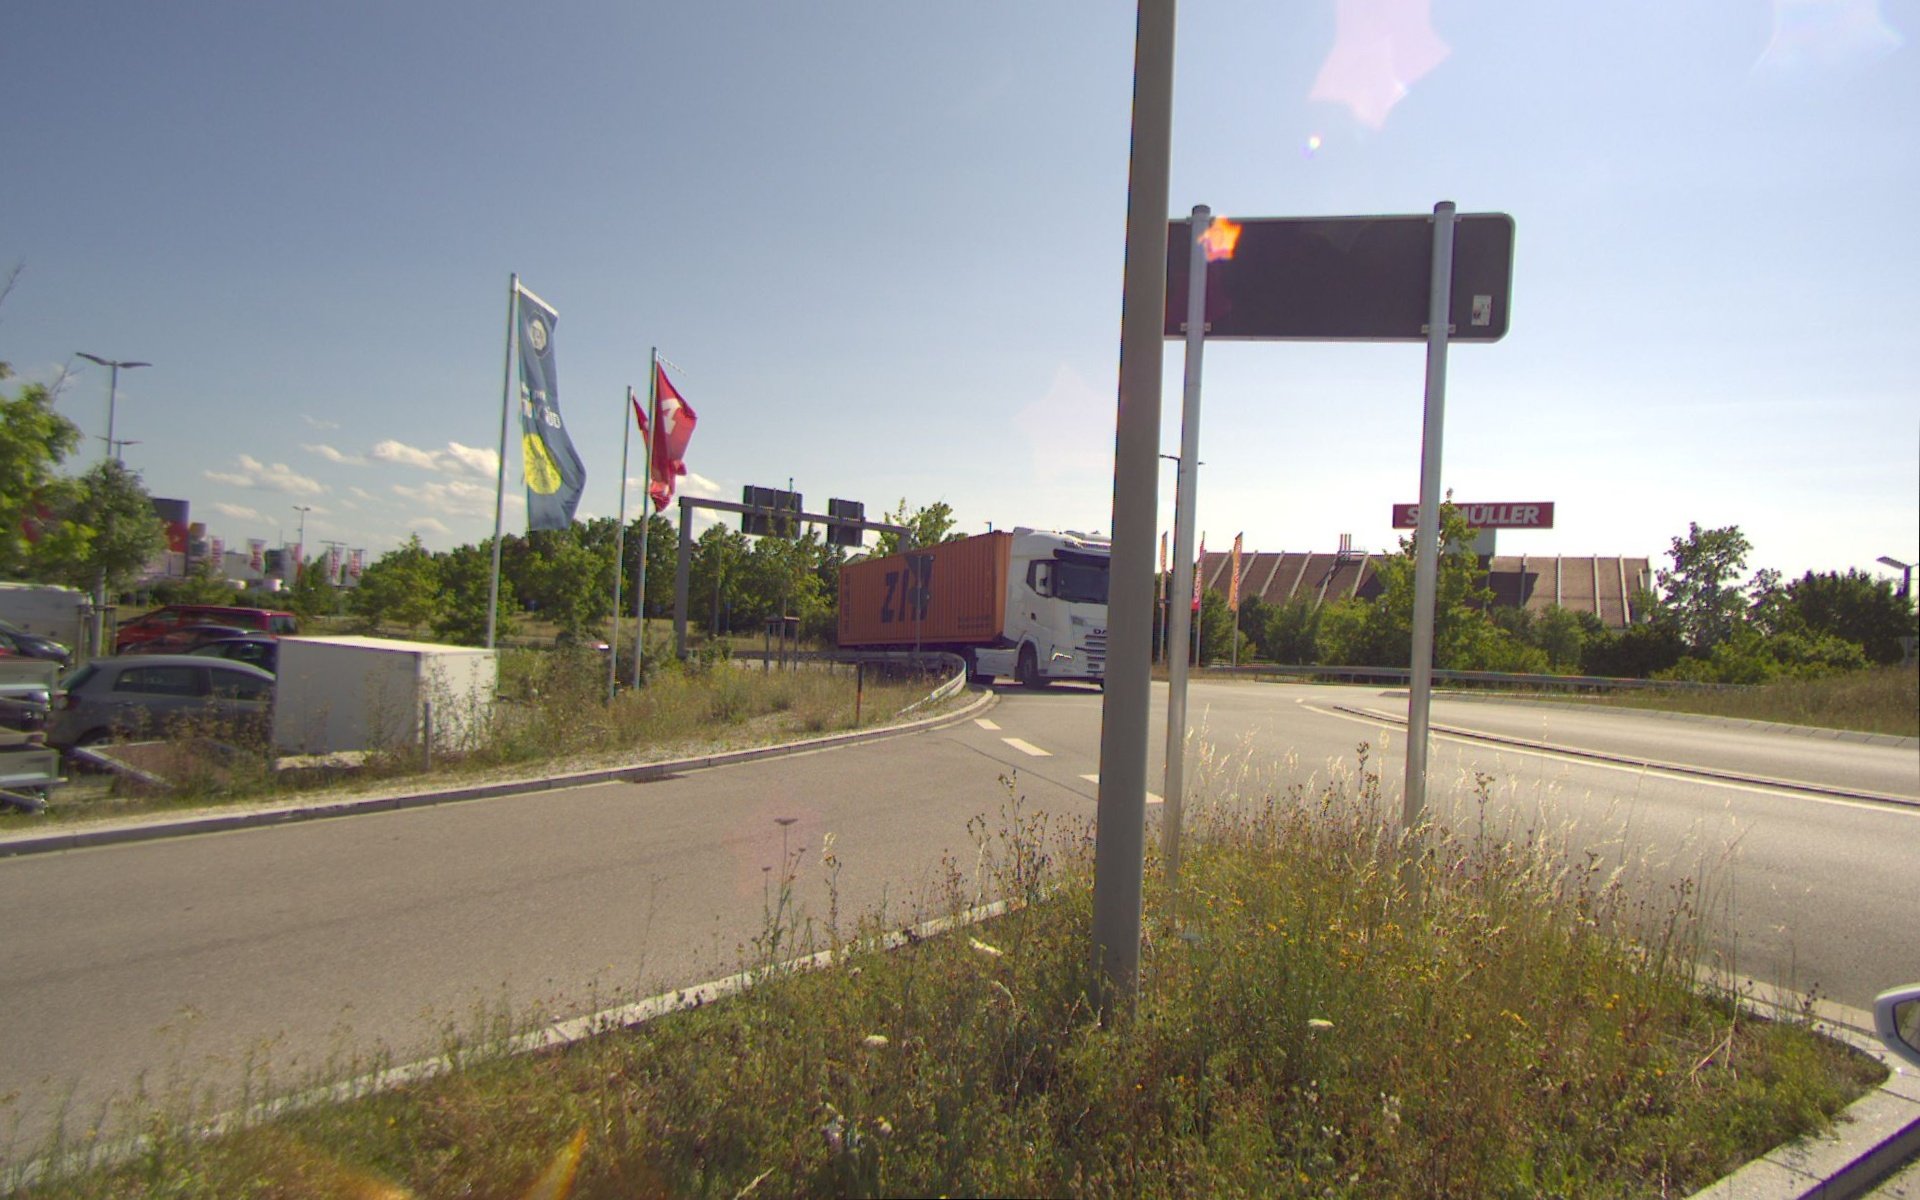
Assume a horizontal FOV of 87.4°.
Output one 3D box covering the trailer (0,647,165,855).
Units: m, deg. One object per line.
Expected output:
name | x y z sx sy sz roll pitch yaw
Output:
trailer | -10.658 1.467 10.624 3.623 1.795 1.808 2 0 19

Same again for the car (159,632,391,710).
car | -15.709 1.614 23.244 3.926 1.483 1.824 4 -3 -6

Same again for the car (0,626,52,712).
car | -18.146 1.151 17.053 3.971 1.483 1.803 3 -3 -42

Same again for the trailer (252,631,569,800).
trailer | -7.578 1.484 13.931 3.624 1.795 1.808 4 1 19

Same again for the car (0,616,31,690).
car | -22.058 1.054 20.767 3.964 1.483 1.806 3 0 -37

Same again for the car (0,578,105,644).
car | -30.640 0.332 32.611 4.316 2.040 1.881 3 0 -41

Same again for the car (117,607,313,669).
car | -20.564 1.034 27.890 3.925 1.483 1.823 2 0 -6

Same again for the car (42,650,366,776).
car | -11.332 1.612 15.260 3.713 1.572 1.724 3 0 -40

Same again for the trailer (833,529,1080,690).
trailer | -0.701 0.298 32.194 2.529 4.208 12.273 2 -1 -27

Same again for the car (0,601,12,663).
car | -25.348 0.709 23.796 3.964 1.483 1.806 3 0 -37

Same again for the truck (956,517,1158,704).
truck | 2.247 0.274 25.894 2.622 4.161 6.406 2 -1 -19

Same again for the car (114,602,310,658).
car | -22.610 0.886 30.510 4.372 1.483 1.823 3 0 -6
